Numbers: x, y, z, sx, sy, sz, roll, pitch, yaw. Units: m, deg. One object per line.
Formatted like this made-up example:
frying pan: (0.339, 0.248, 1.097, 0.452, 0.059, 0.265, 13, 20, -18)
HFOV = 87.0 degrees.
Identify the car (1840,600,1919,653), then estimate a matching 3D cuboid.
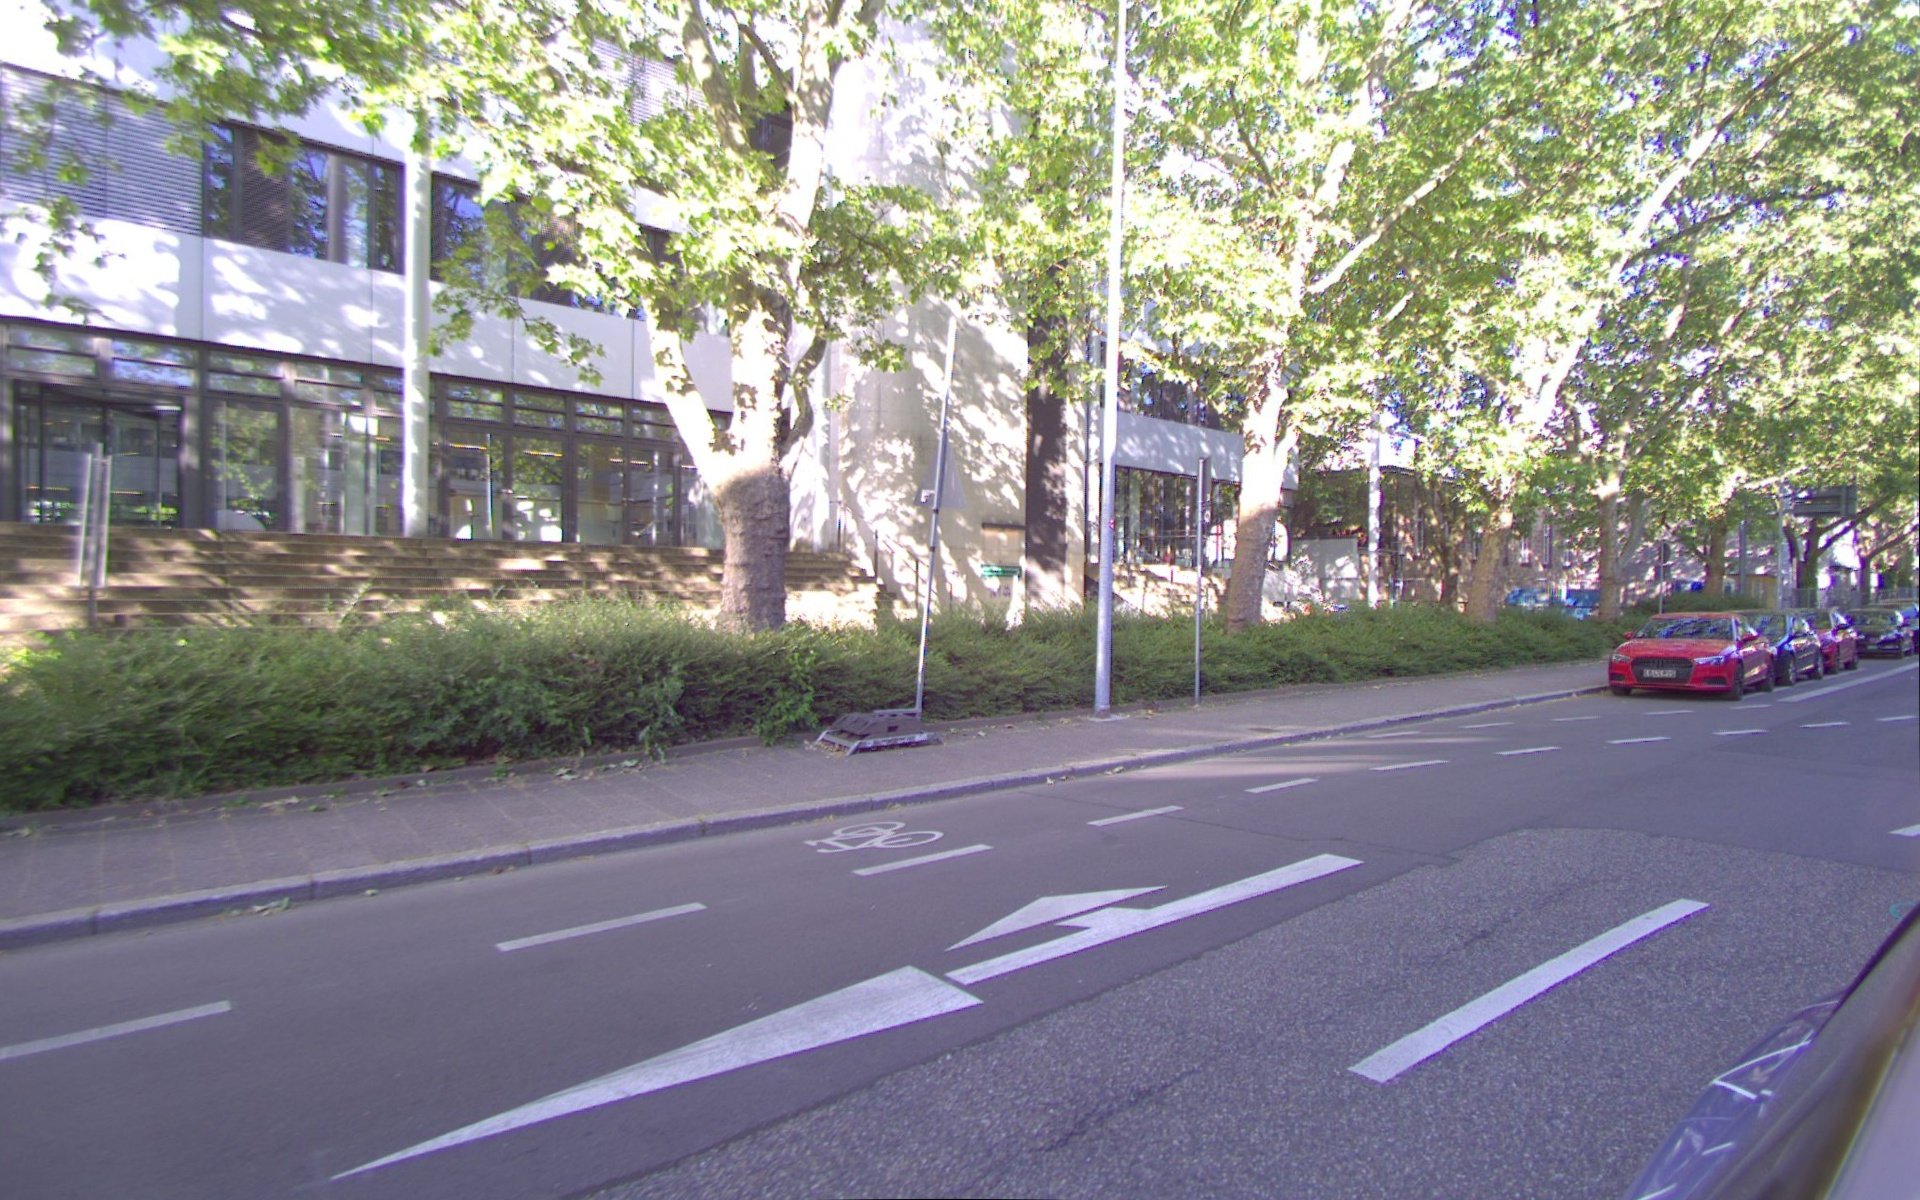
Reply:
car: (27.638, 0.731, 30.120, 3.930, 1.469, 1.684, 0, 1, -41)

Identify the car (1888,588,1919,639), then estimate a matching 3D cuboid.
car: (35.593, 0.490, 37.131, 4.354, 1.790, 1.818, 0, 0, -41)

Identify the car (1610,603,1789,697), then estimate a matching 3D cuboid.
car: (12.873, 0.788, 17.535, 3.962, 1.439, 1.722, 0, -2, -42)

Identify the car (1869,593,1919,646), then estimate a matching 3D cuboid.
car: (31.139, 0.610, 33.074, 3.770, 1.640, 1.684, 0, 0, -41)

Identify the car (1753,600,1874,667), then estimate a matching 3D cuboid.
car: (20.237, 0.730, 23.958, 3.715, 1.452, 1.665, 0, 1, -41)

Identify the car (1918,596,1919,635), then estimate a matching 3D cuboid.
car: (40.329, 0.624, 41.148, 3.801, 1.581, 1.684, 0, 0, -41)

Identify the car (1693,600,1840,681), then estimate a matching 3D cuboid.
car: (16.437, 0.747, 20.563, 3.930, 1.485, 1.684, 0, 0, -41)
